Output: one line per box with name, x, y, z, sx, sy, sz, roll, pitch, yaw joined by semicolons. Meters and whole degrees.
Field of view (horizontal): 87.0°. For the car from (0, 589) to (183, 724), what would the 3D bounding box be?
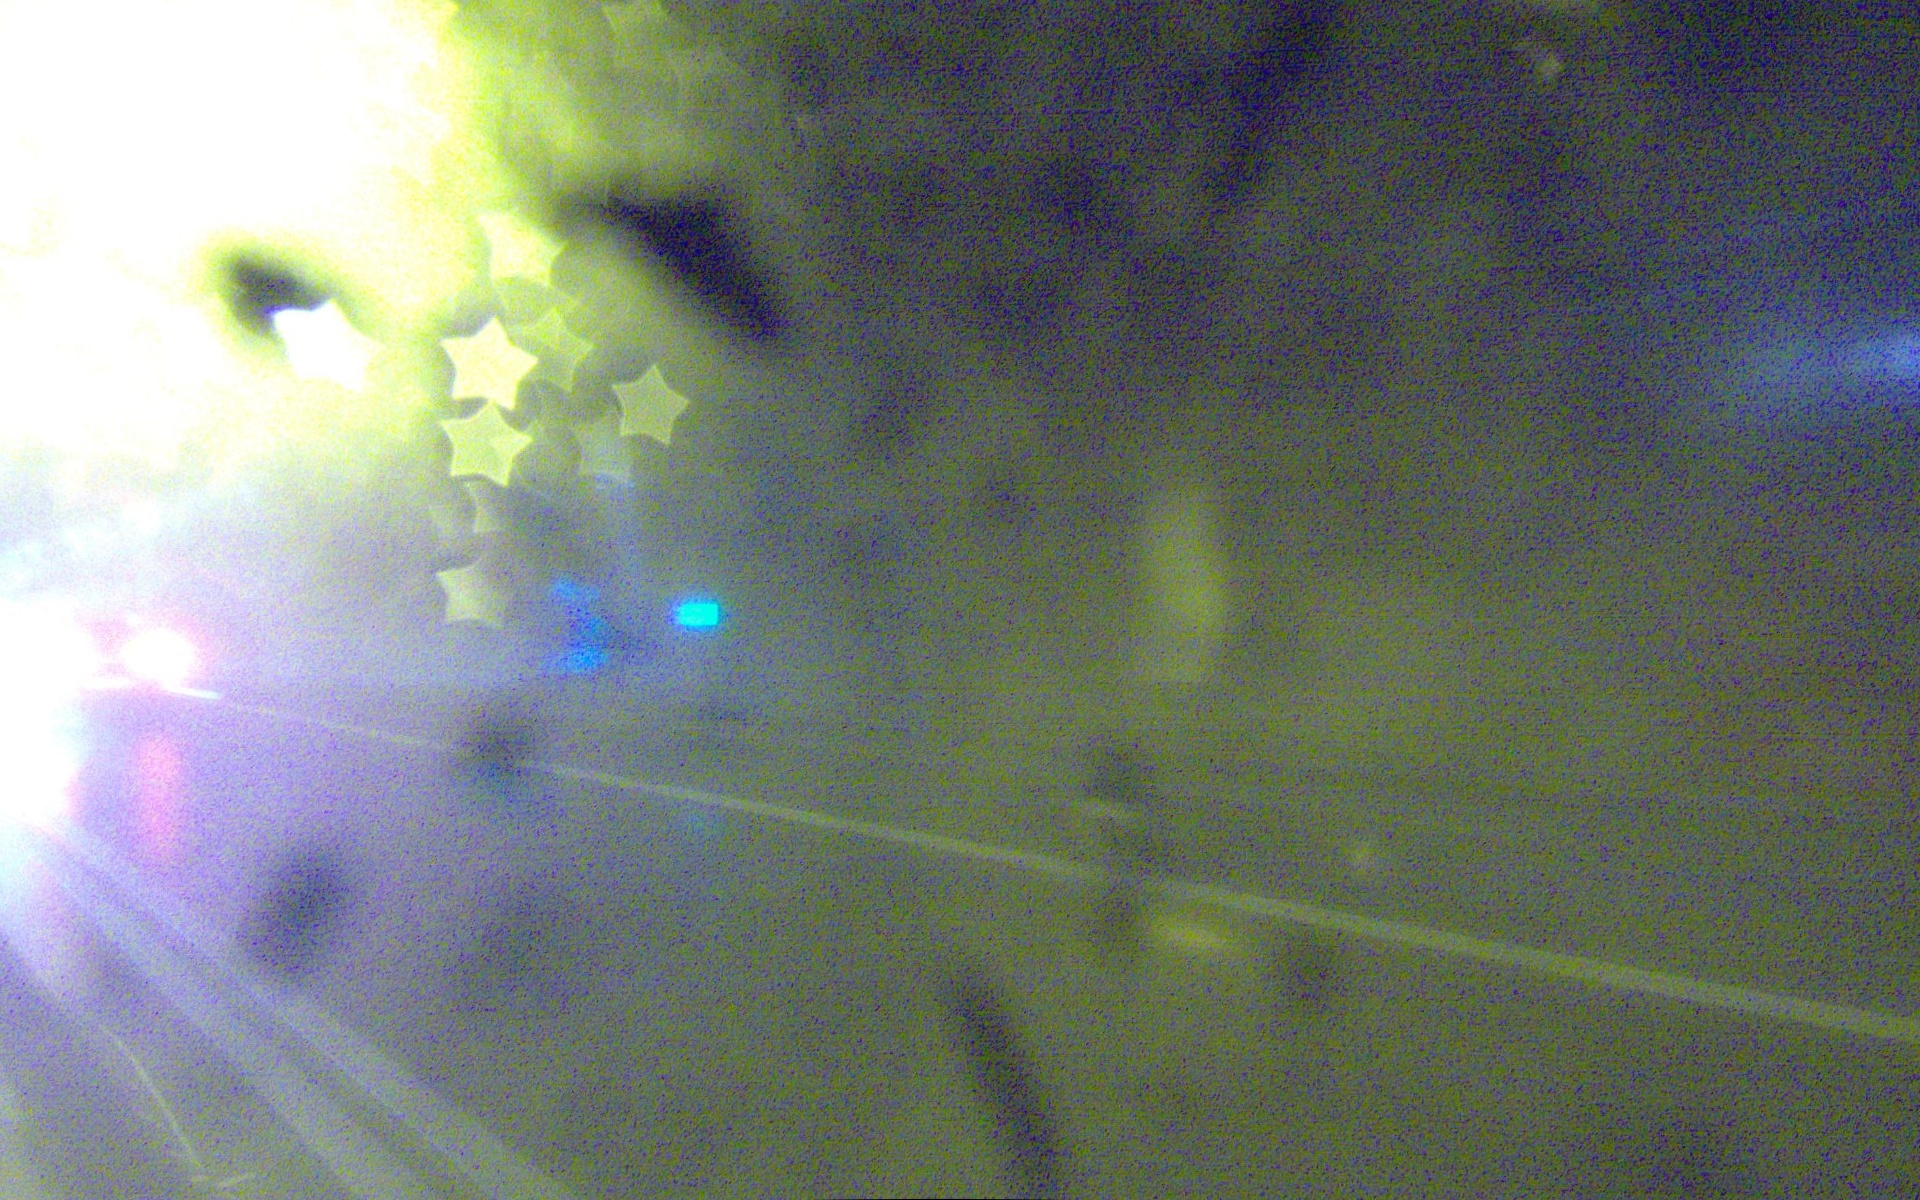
car;-13.422;0.779;15.458;3.930;1.805;1.711;-1;-1;41
